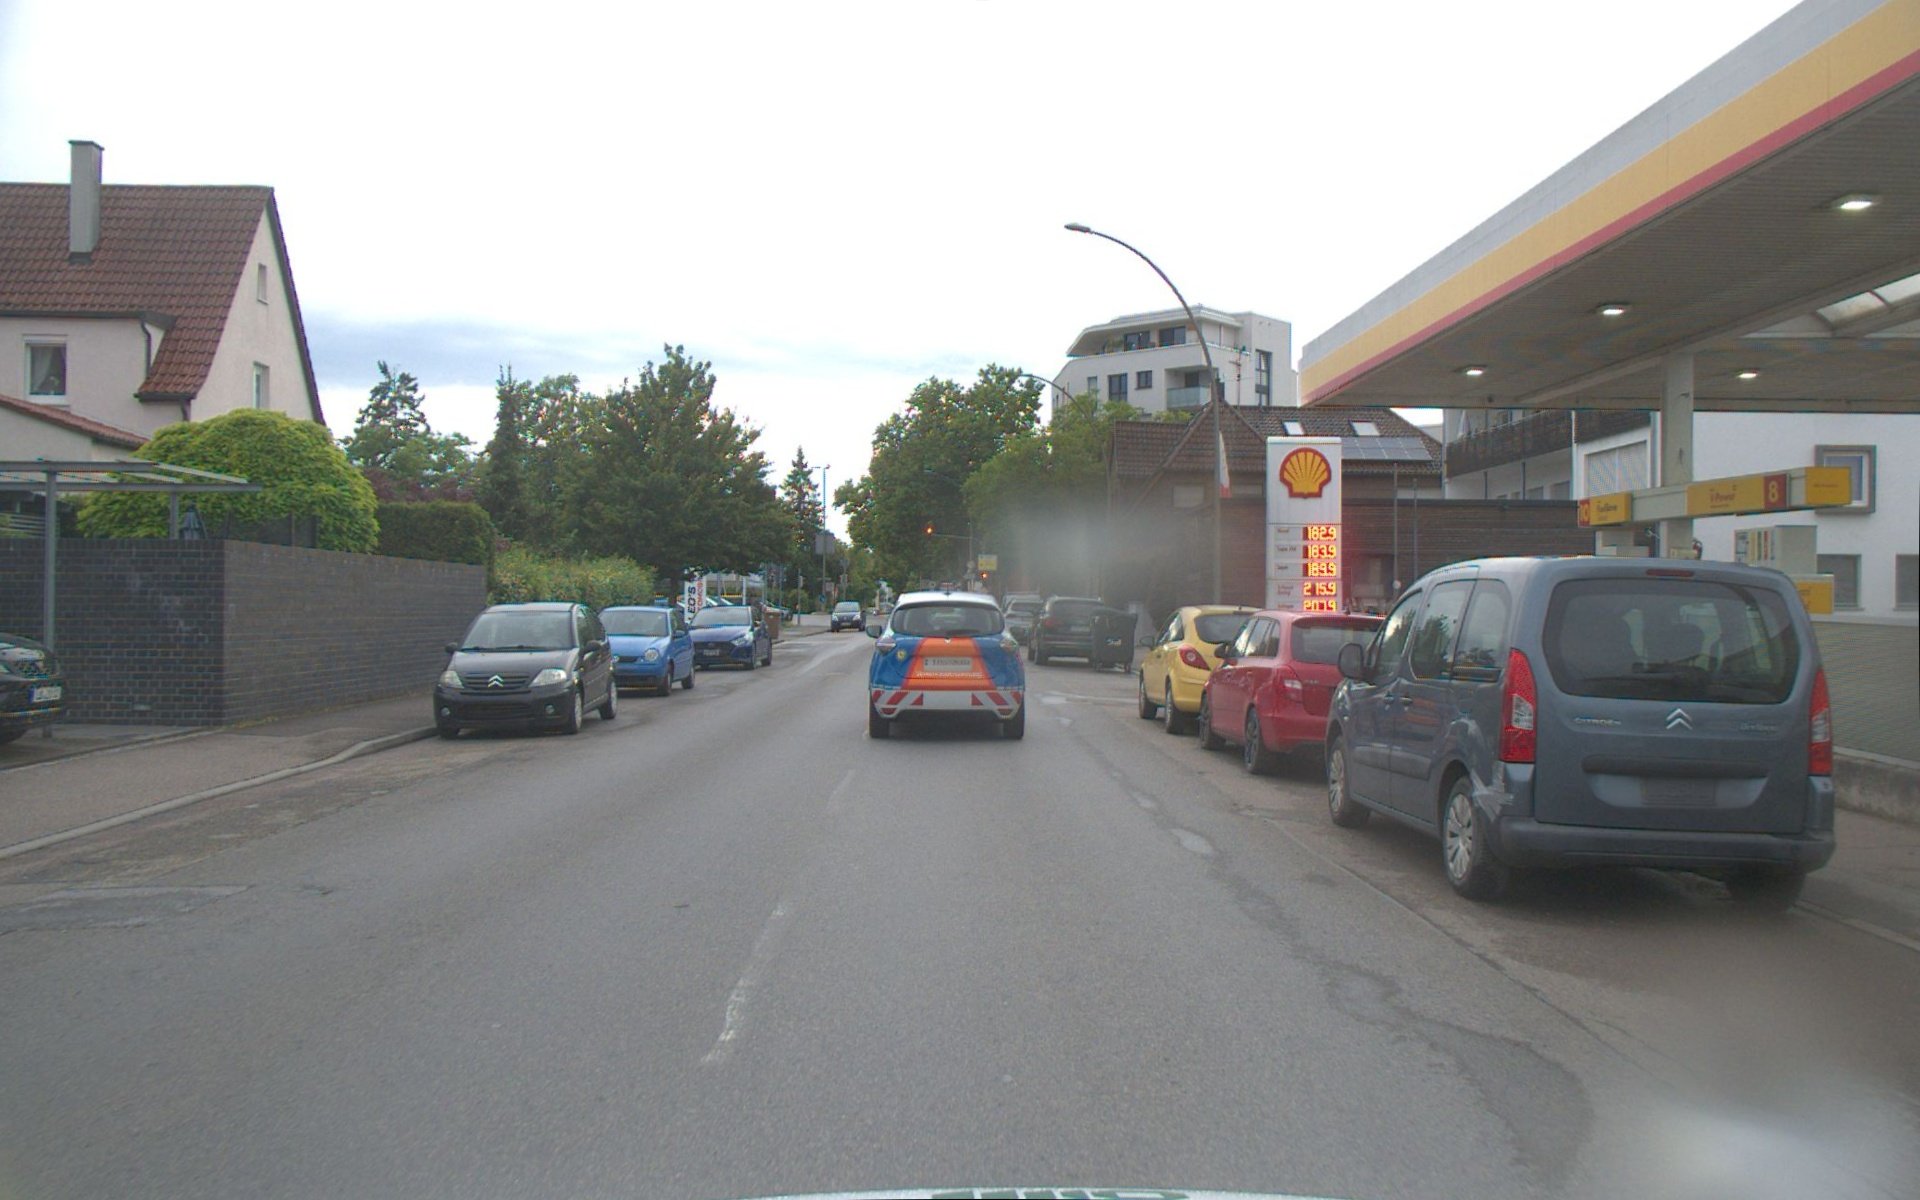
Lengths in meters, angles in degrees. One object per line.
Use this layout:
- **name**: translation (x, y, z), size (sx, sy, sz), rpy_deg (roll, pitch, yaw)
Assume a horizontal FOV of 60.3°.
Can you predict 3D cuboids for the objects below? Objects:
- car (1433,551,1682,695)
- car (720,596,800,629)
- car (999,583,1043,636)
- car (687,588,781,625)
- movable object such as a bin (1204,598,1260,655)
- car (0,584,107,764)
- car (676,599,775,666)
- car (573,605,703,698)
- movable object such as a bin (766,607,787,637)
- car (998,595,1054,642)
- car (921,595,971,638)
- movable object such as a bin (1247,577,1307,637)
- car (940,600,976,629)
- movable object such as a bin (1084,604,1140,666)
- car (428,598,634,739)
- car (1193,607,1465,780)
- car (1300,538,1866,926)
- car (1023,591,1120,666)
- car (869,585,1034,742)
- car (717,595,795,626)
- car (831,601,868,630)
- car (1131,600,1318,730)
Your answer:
- **car**: translation (8.061, 0.274, 22.709), size (1.783, 1.790, 3.997), rpy_deg (0, 0, -4)
- **car**: translation (-10.383, 0.639, 85.981), size (3.904, 1.571, 1.804), rpy_deg (1, 0, 1)
- **car**: translation (2.518, 0.364, 68.797), size (1.741, 2.064, 4.755), rpy_deg (2, 1, 2)
- **car**: translation (-10.971, 0.320, 80.408), size (4.258, 1.720, 1.959), rpy_deg (0, 0, 0)
- **movable object such as a bin**: translation (6.617, 0.640, 40.343), size (1.080, 1.363, 1.384), rpy_deg (0, 0, -3)
- **car**: translation (-9.731, 0.571, 14.526), size (3.516, 1.482, 1.755), rpy_deg (2, 0, -6)
- **car**: translation (-5.420, 0.724, 38.603), size (1.770, 1.427, 3.944), rpy_deg (-1, 0, -1)
- **car**: translation (-5.406, 0.824, 28.138), size (1.514, 1.427, 3.596), rpy_deg (-1, 0, -1)
- **movable object such as a bin**: translation (-7.095, 0.856, 63.934), size (0.693, 1.150, 0.735), rpy_deg (1, 0, -1)
- **car**: translation (2.468, 0.671, 62.838), size (1.828, 1.694, 4.319), rpy_deg (1, 0, -1)
- **car**: translation (-0.546, 0.667, 68.473), size (1.952, 1.601, 4.001), rpy_deg (2, 1, 0)
- **movable object such as a bin**: translation (7.372, 0.161, 38.544), size (1.080, 1.363, 1.384), rpy_deg (0, 0, -3)
- **car**: translation (-0.129, 0.797, 93.754), size (1.759, 1.453, 3.997), rpy_deg (1, 1, -4)
- **movable object such as a bin**: translation (3.505, 0.795, 38.349), size (1.104, 1.413, 1.503), rpy_deg (0, 0, -3)
- **car**: translation (-5.158, 0.760, 20.314), size (1.576, 1.532, 3.706), rpy_deg (-1, 0, -1)
- **car**: translation (3.371, 0.792, 15.835), size (1.622, 1.400, 4.024), rpy_deg (0, 0, -1)
- **car**: translation (3.417, 0.622, 10.069), size (1.623, 1.768, 4.443), rpy_deg (3, 0, -1)
- **car**: translation (2.754, 0.668, 41.829), size (2.048, 1.691, 4.558), rpy_deg (1, 1, -1)
- **car**: translation (-0.118, 0.638, 19.109), size (1.710, 1.608, 3.999), rpy_deg (0, 1, -1)
- **car**: translation (-10.956, 0.540, 89.021), size (3.904, 1.571, 1.804), rpy_deg (1, 0, 1)
- **car**: translation (-5.629, 0.783, 84.748), size (1.593, 1.458, 3.684), rpy_deg (0, 0, 1)
- **car**: translation (3.161, 0.730, 20.452), size (1.622, 1.426, 3.800), rpy_deg (0, 0, -1)
